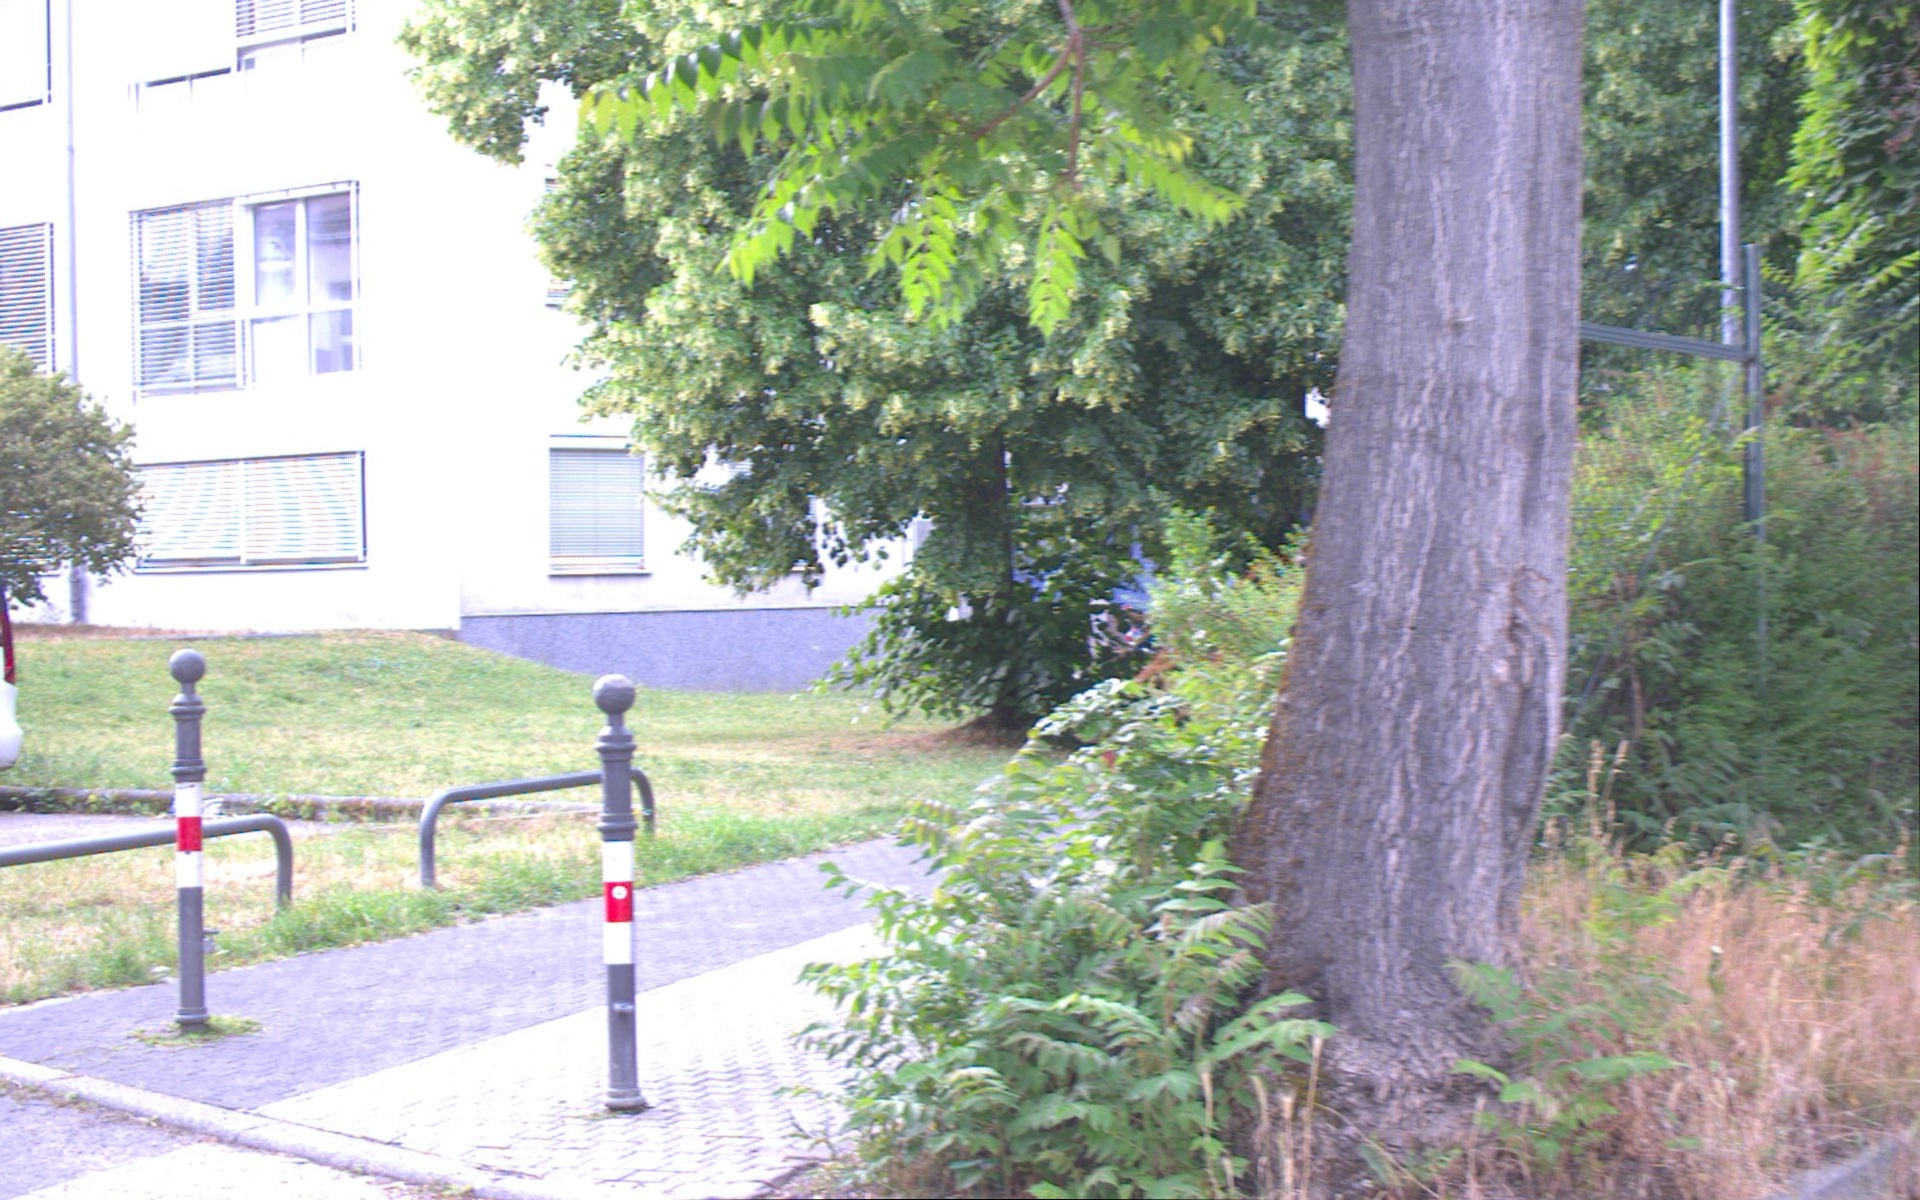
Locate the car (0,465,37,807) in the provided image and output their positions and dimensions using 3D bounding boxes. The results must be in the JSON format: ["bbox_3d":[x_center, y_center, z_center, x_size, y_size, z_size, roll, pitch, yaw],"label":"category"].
[{"bbox_3d":[-7.627,0.253,19.374,1.853,2.007,4.341,-2,0,42],"label":"car"}]
